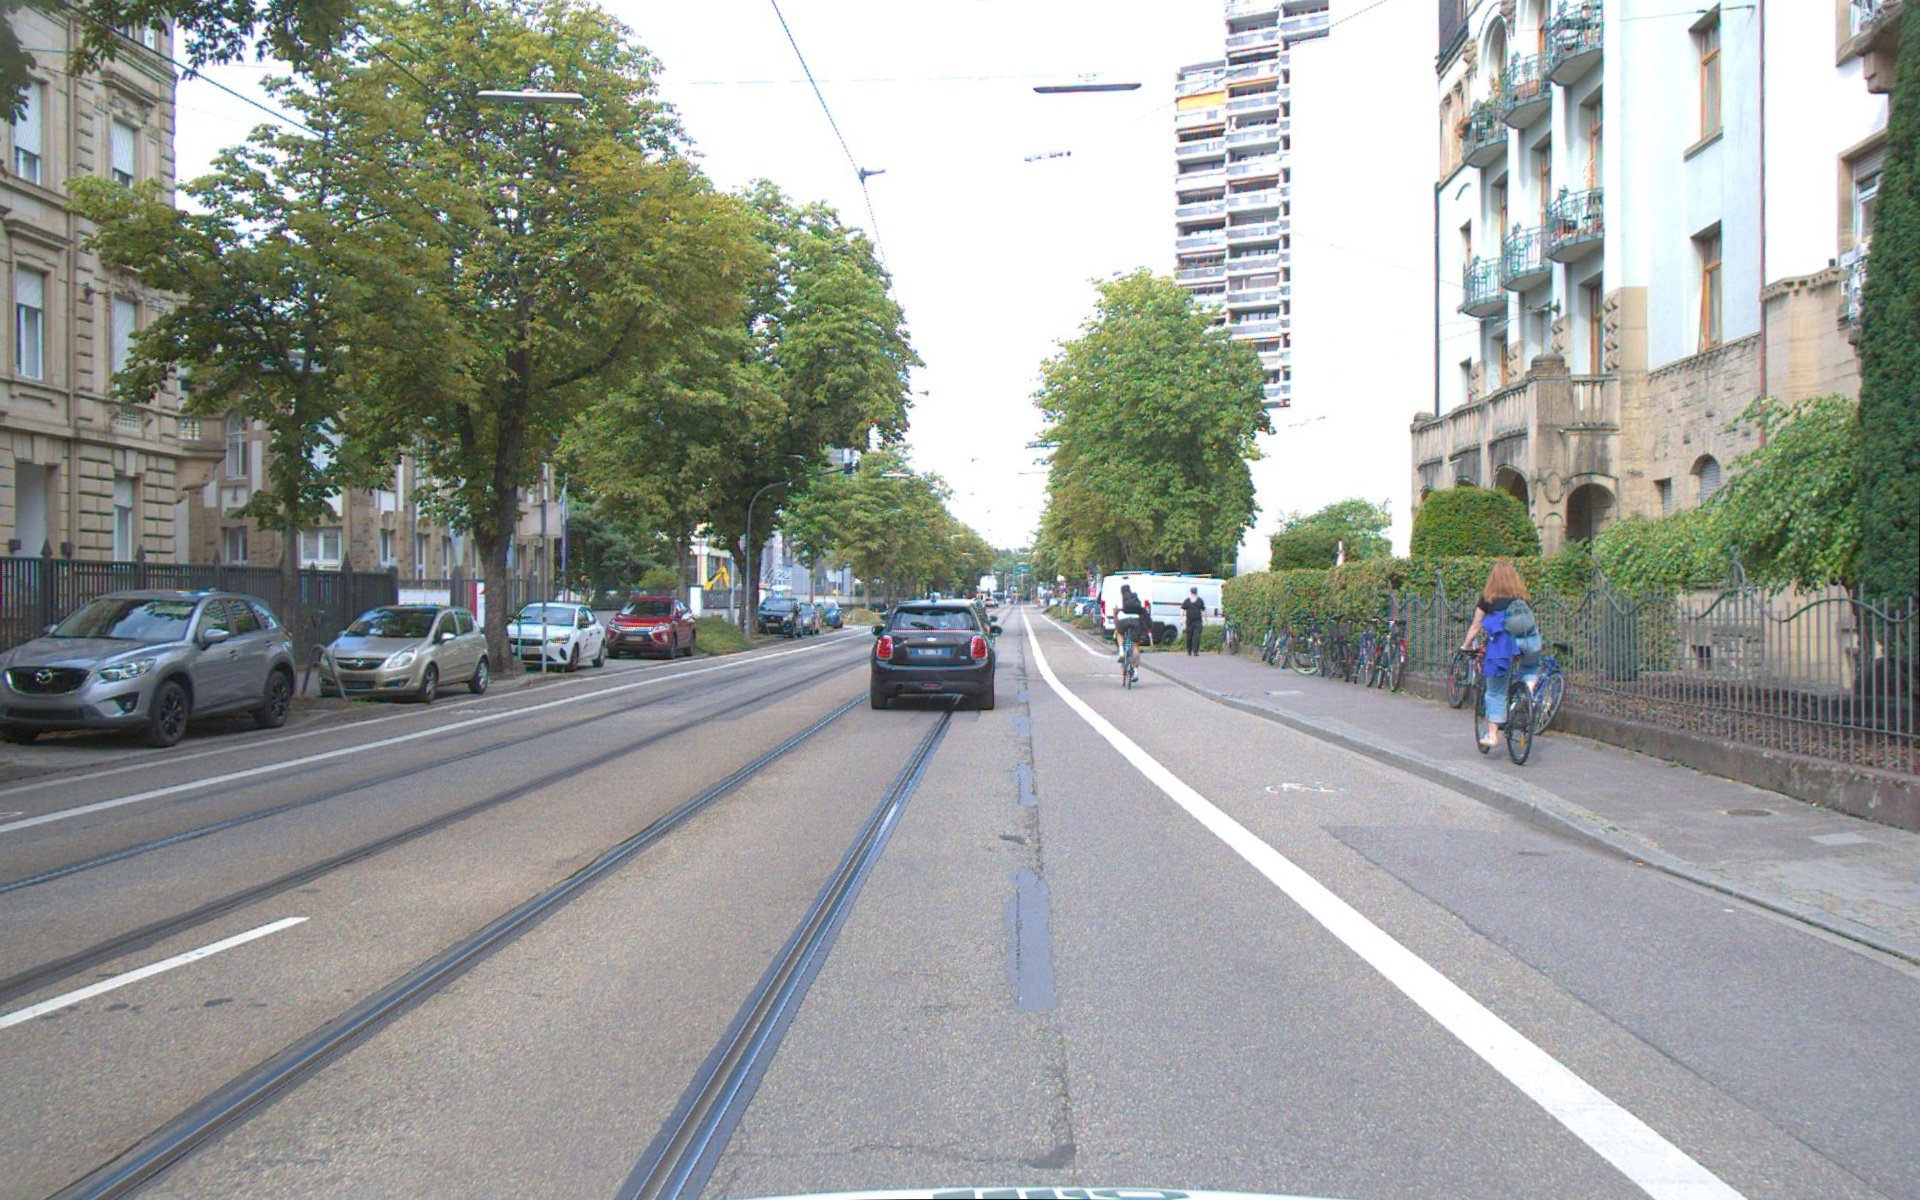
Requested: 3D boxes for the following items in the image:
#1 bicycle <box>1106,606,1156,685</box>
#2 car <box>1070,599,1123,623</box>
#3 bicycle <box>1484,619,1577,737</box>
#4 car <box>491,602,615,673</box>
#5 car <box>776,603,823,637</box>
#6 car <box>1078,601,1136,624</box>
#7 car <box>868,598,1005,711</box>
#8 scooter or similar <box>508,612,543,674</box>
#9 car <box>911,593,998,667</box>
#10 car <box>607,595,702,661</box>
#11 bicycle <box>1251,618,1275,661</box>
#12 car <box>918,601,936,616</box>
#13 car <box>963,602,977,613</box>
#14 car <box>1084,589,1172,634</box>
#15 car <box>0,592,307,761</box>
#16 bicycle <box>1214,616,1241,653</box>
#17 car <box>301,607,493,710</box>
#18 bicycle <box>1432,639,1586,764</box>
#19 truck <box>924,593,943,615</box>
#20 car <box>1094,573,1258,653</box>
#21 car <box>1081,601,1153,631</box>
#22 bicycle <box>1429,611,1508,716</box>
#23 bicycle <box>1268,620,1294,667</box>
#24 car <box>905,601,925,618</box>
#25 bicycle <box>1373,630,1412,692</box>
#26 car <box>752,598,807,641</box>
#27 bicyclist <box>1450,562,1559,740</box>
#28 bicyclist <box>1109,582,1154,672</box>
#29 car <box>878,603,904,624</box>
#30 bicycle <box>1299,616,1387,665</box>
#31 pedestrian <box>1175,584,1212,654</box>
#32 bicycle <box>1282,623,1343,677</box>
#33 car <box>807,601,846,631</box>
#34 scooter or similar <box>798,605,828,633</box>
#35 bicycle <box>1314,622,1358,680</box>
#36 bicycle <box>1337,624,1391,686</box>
[{"bbox_3d":[2.908,0.752,28.281,0.644,1.271,2.125,1,0,1],"label":"bicycle"},{"bbox_3d":[9.129,0.744,110.611,3.410,1.600,1.540,0,0,-37],"label":"car"},{"bbox_3d":[5.869,0.771,17.082,0.383,1.122,1.760,-2,0,2],"label":"bicycle"},{"bbox_3d":[-9.092,0.795,37.242,1.686,1.448,4.024,2,0,1],"label":"car"},{"bbox_3d":[-7.273,0.886,75.202,1.658,1.452,3.869,1,0,1],"label":"car"},{"bbox_3d":[9.290,0.790,104.619,3.498,1.468,1.602,0,0,-37],"label":"car"},{"bbox_3d":[-0.318,0.708,23.403,1.757,1.448,3.999,1,0,0],"label":"car"},{"bbox_3d":[-9.032,0.881,34.345,0.553,1.244,1.315,0,0,-21],"label":"scooter or similar"},{"bbox_3d":[-0.159,0.623,36.343,1.757,1.496,3.999,2,0,-1],"label":"car"},{"bbox_3d":[-8.422,0.733,45.933,1.686,1.684,4.543,2,0,1],"label":"car"},{"bbox_3d":[6.764,0.878,36.931,0.378,0.923,1.666,-1,-1,6],"label":"bicycle"},{"bbox_3d":[-3.601,0.929,181.717,1.765,1.611,4.032,-1,0,1],"label":"car"},{"bbox_3d":[1.370,1.026,218.119,1.797,1.473,4.554,0,0,1],"label":"car"},{"bbox_3d":[7.910,0.536,77.734,4.242,2.050,1.802,1,-1,-44],"label":"car"},{"bbox_3d":[-9.238,0.772,18.943,1.675,1.703,4.358,0,0,2],"label":"car"},{"bbox_3d":[6.819,0.868,42.202,0.378,0.923,1.842,-1,-1,0],"label":"bicycle"},{"bbox_3d":[-8.878,0.867,26.439,1.567,1.494,4.080,0,0,2],"label":"car"},{"bbox_3d":[4.808,0.856,14.626,0.674,0.979,2.036,0,0,0],"label":"bicycle"},{"bbox_3d":[-3.131,0.487,194.801,2.028,2.513,4.899,-1,0,1],"label":"truck"},{"bbox_3d":[6.653,0.405,50.680,4.915,2.330,2.349,1,-1,-41],"label":"car"},{"bbox_3d":[8.008,0.810,84.027,1.613,1.485,3.801,0,-1,44],"label":"car"},{"bbox_3d":[6.060,0.733,19.793,0.383,1.162,1.921,-2,0,2],"label":"bicycle"},{"bbox_3d":[6.586,0.881,33.944,0.378,0.923,1.666,-1,-1,6],"label":"bicycle"},{"bbox_3d":[-4.378,0.944,161.406,1.765,1.611,4.032,-1,0,1],"label":"car"},{"bbox_3d":[6.270,0.878,24.006,0.272,0.867,1.198,-1,-1,2],"label":"bicycle"},{"bbox_3d":[-7.449,0.784,68.619,1.719,1.676,4.053,1,0,1],"label":"car"},{"bbox_3d":[4.779,0.432,14.568,0.634,1.496,0.800,-2,0,-1],"label":"bicyclist"},{"bbox_3d":[2.925,0.446,28.212,0.644,1.489,1.178,1,0,1],"label":"bicyclist"},{"bbox_3d":[-5.502,1.070,131.530,1.765,1.611,4.032,-1,0,1],"label":"car"},{"bbox_3d":[7.647,0.809,33.079,1.625,0.923,0.487,-1,-1,0],"label":"bicycle"},{"bbox_3d":[6.021,0.479,42.712,0.769,1.763,0.896,-2,0,1],"label":"pedestrian"},{"bbox_3d":[6.282,0.886,29.519,0.477,0.923,1.661,-1,-1,-9],"label":"bicycle"},{"bbox_3d":[-7.040,0.838,87.200,1.658,1.513,3.678,1,0,1],"label":"car"},{"bbox_3d":[-7.367,0.944,82.975,1.413,1.367,0.700,-1,0,3],"label":"scooter or similar"},{"bbox_3d":[6.260,0.842,27.606,0.475,0.923,1.666,-1,-1,5],"label":"bicycle"},{"bbox_3d":[6.295,0.849,25.818,0.475,0.923,1.665,-1,-1,2],"label":"bicycle"}]
